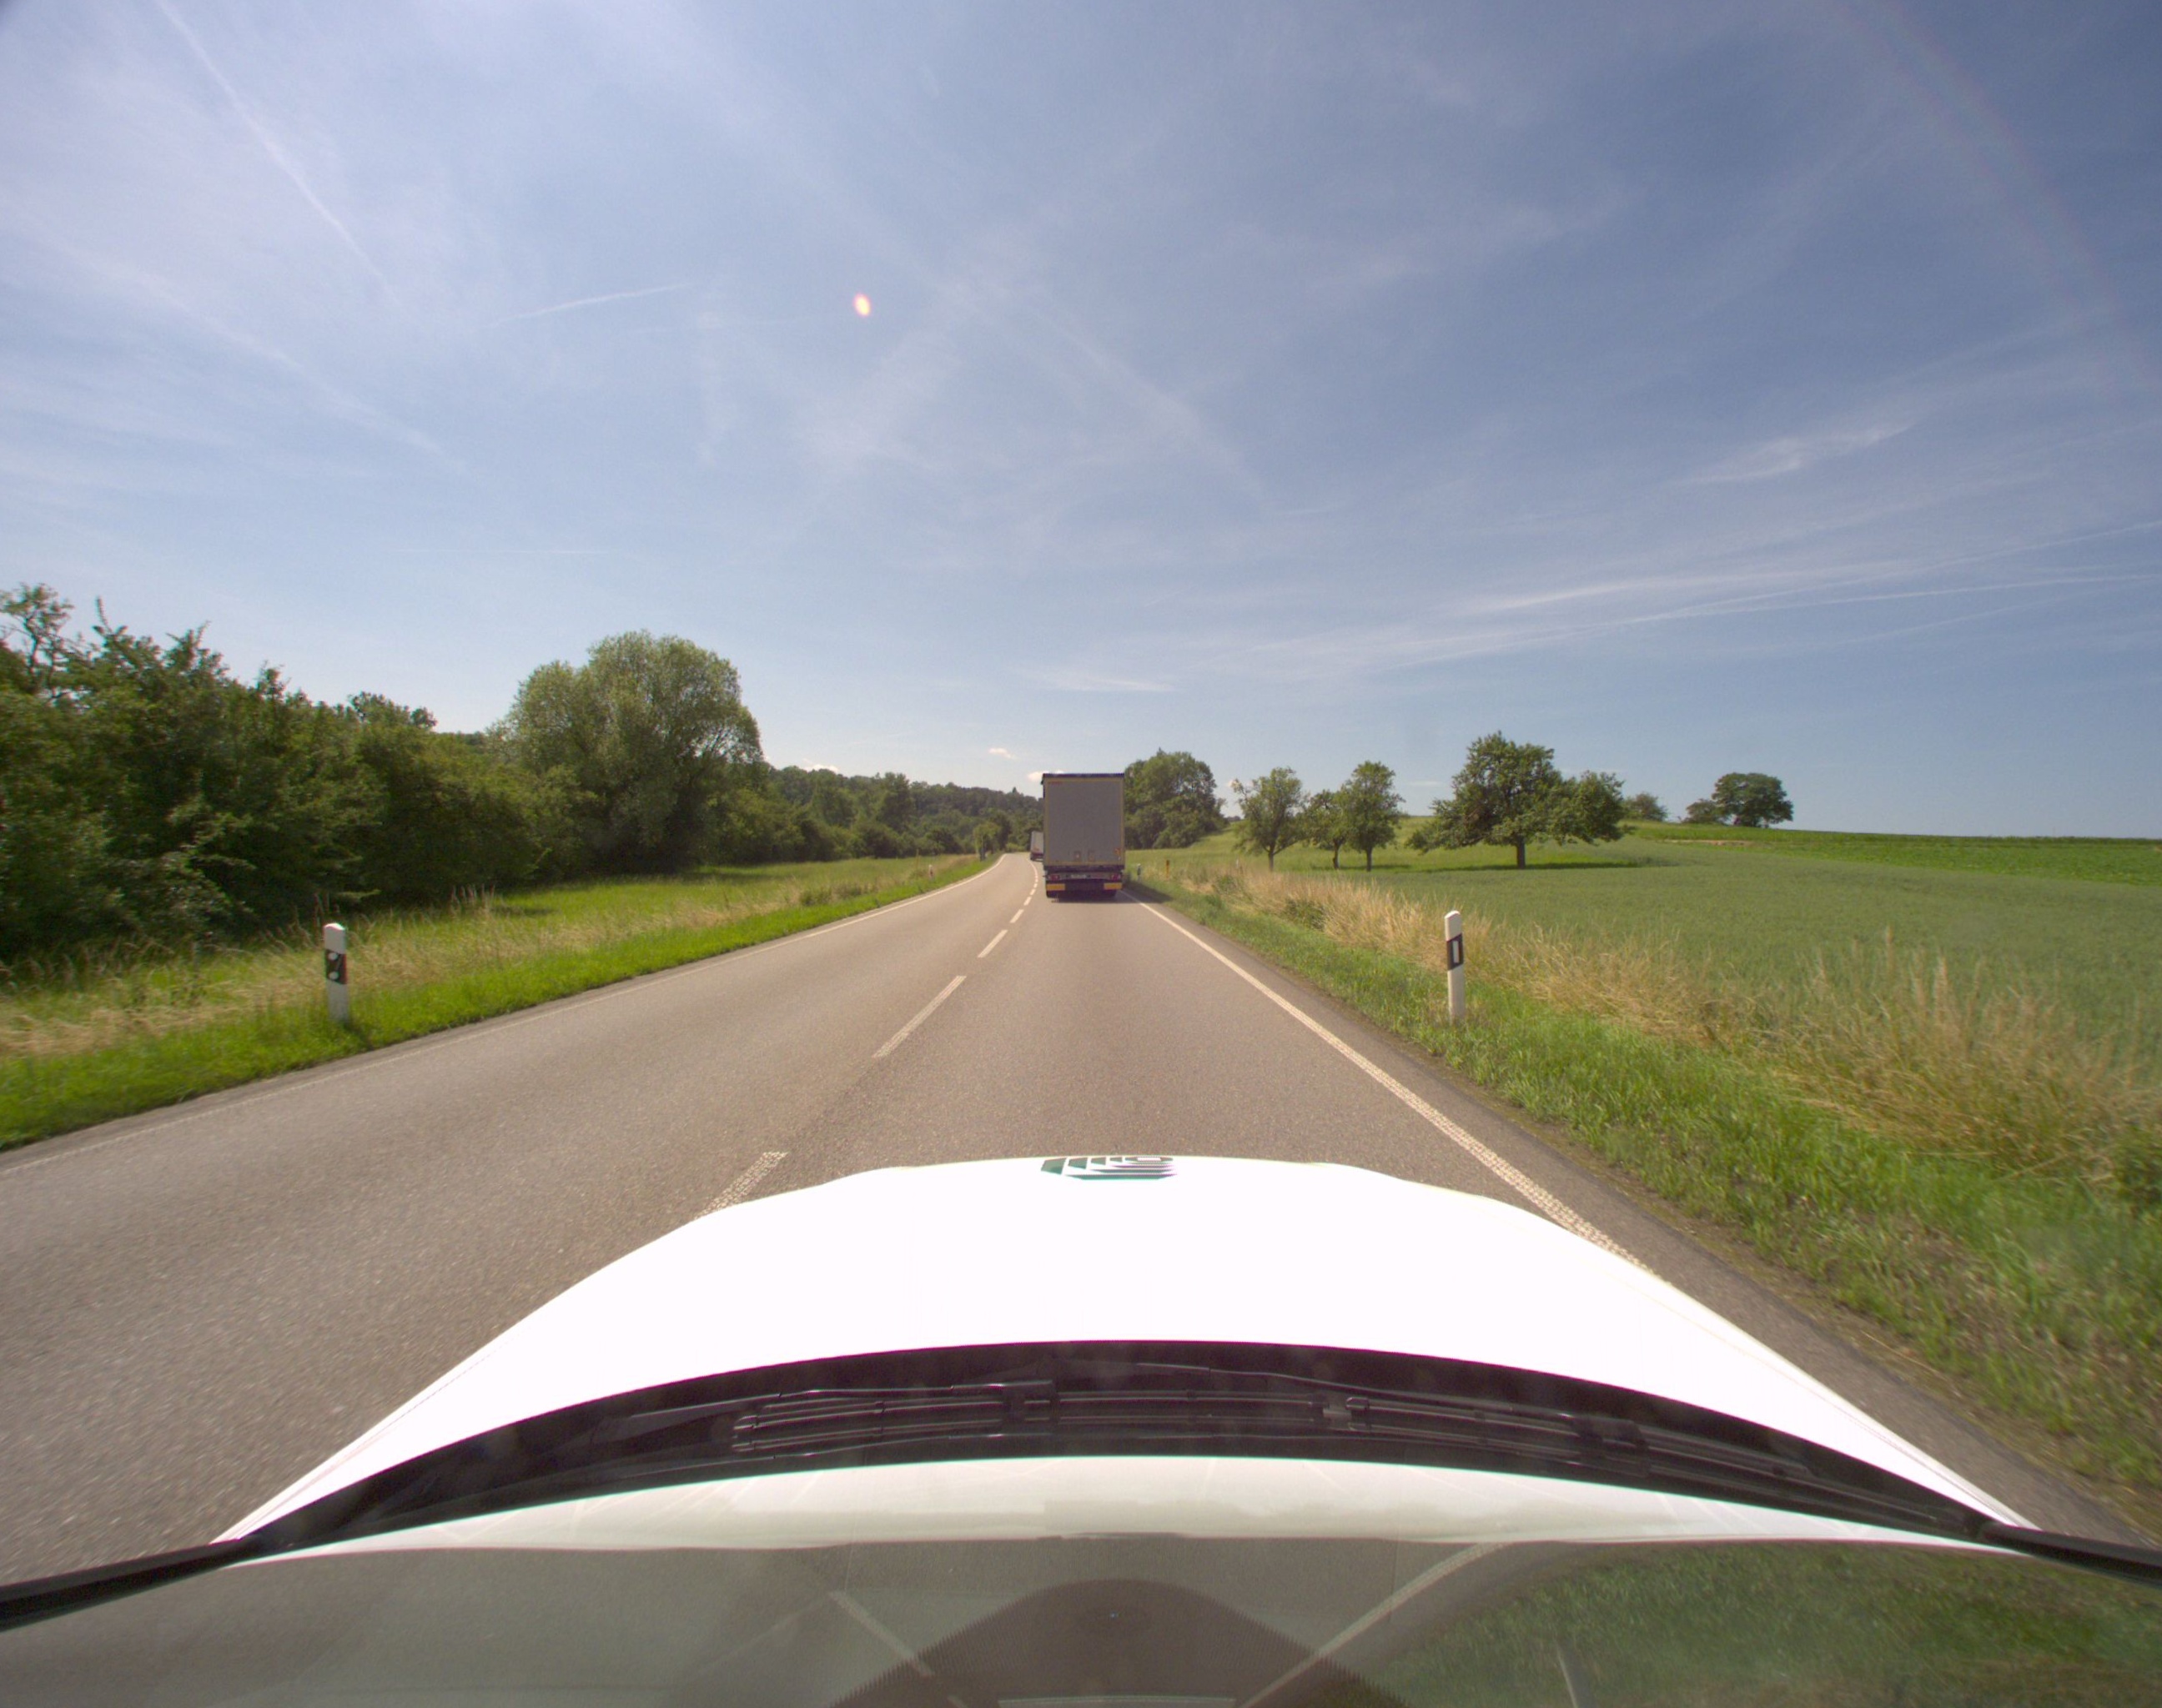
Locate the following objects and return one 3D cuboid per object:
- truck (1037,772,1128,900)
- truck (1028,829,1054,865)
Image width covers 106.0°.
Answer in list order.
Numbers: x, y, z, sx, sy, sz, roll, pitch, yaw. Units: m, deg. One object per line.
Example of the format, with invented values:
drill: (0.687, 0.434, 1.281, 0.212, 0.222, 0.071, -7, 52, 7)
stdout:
truck: (-0.143, -0.581, 30.031, 2.801, 3.946, 9.582, 0, 0, -2)
truck: (-5.744, -0.837, 114.554, 2.956, 4.584, 16.288, 2, 0, -4)
